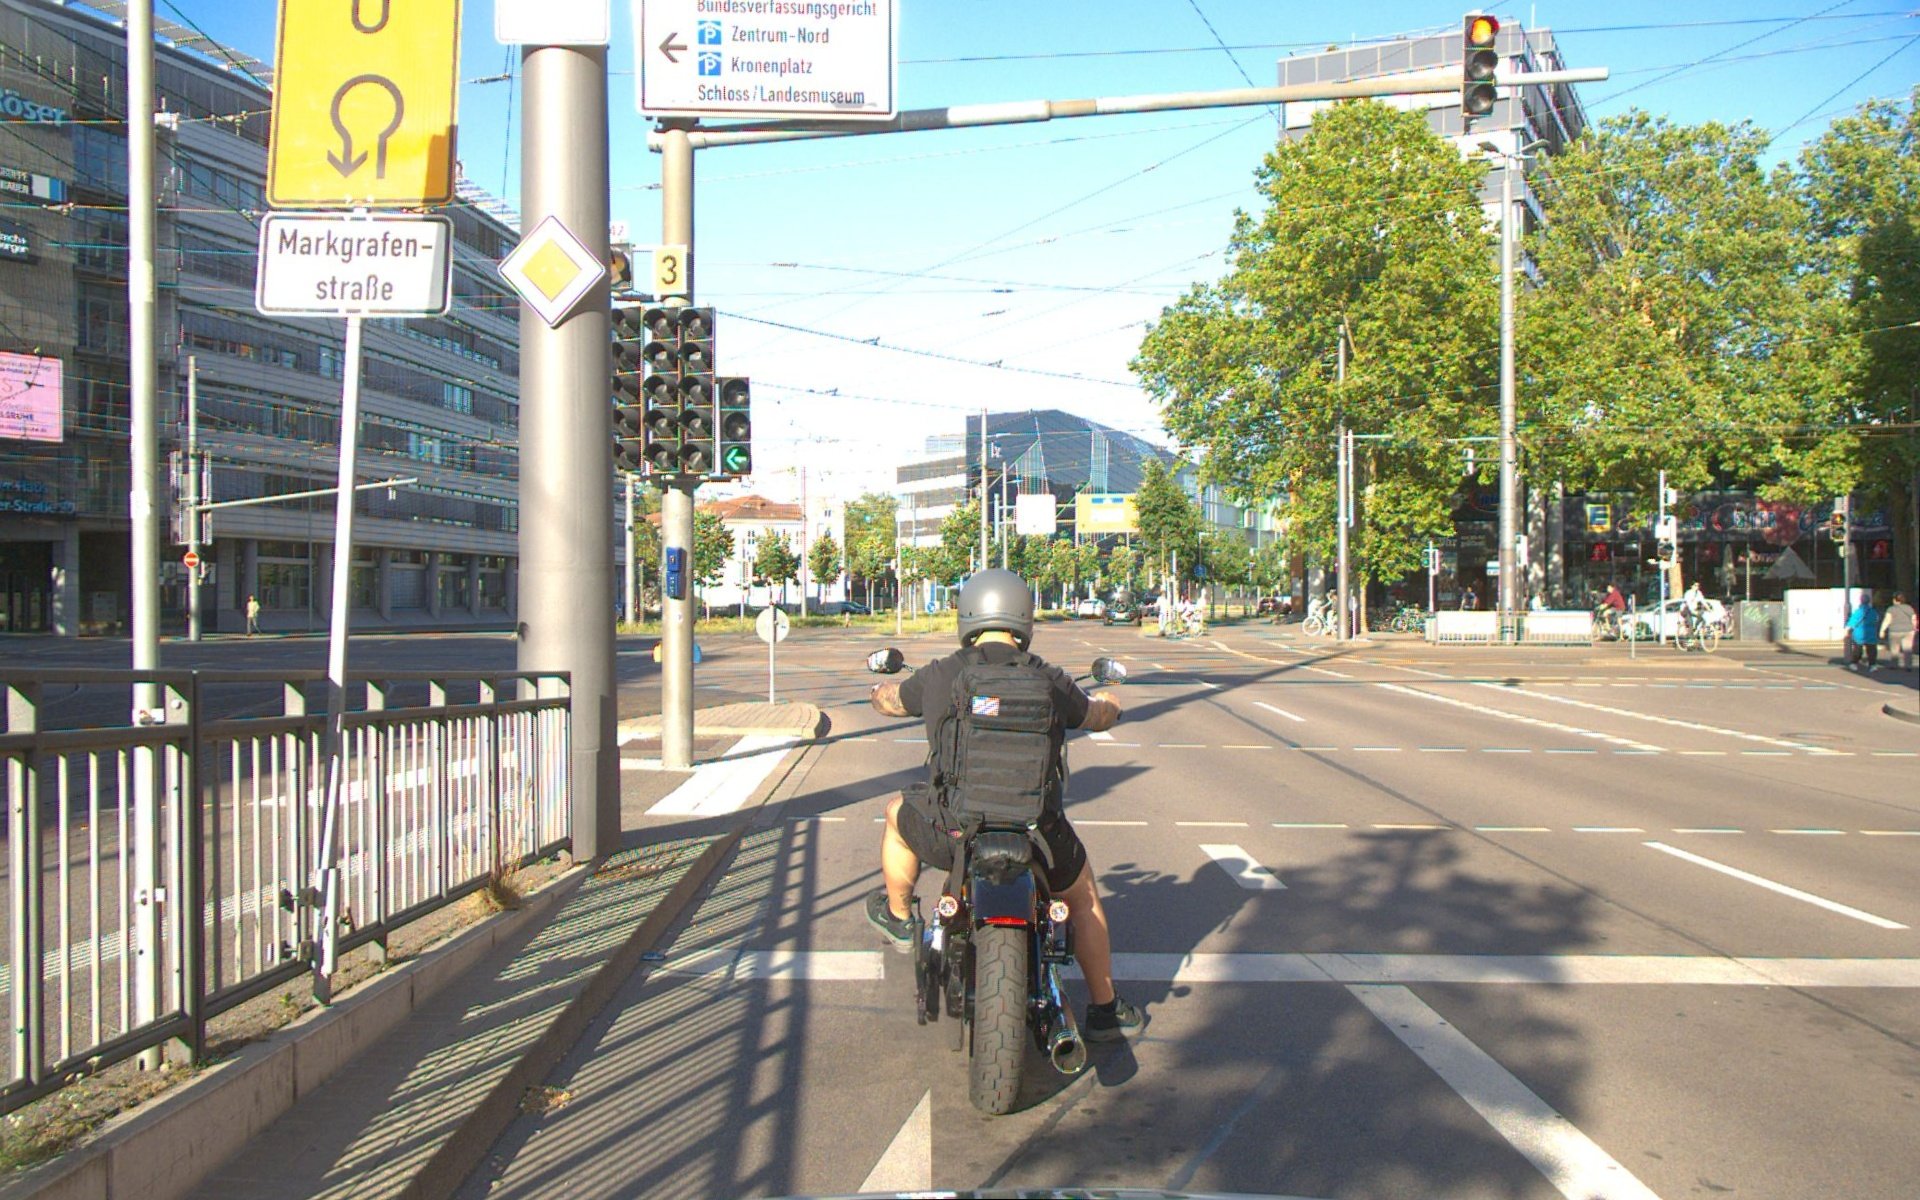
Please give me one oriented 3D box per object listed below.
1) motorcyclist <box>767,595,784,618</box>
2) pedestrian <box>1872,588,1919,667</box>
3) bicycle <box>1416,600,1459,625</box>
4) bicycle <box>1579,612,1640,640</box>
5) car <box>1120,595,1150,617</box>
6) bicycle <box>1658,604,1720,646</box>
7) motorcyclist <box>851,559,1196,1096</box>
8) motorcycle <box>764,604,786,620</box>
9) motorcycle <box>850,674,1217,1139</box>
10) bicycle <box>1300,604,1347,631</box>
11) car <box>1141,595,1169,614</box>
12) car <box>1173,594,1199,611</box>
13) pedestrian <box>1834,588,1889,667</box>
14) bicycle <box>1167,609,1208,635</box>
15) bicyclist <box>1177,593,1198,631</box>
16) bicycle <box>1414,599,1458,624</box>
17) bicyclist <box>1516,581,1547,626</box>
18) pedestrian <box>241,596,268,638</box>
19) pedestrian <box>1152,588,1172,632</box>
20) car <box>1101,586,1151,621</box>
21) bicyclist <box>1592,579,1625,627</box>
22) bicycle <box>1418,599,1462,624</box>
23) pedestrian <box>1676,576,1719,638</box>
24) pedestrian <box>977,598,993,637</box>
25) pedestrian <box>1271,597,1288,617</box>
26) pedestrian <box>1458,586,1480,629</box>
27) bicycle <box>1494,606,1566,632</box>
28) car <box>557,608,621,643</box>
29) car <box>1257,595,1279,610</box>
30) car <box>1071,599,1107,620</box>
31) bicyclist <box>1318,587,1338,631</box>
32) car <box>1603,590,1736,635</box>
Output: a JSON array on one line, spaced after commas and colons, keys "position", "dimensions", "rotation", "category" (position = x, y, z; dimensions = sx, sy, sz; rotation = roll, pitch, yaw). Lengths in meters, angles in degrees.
[{"position": [-14.750, 0.507, 132.042], "dimensions": [0.997, 1.761, 1.462], "rotation": [0, 0, 10], "category": "motorcyclist"}, {"position": [18.927, 0.553, 33.340], "dimensions": [0.638, 1.566, 0.741], "rotation": [1, -1, -8], "category": "pedestrian"}, {"position": [19.235, 0.500, 66.654], "dimensions": [1.668, 1.003, 0.391], "rotation": [0, 0, 13], "category": "bicycle"}, {"position": [22.360, 0.895, 56.953], "dimensions": [1.814, 0.926, 0.652], "rotation": [0, 0, 3], "category": "bicycle"}, {"position": [14.978, 0.513, 141.539], "dimensions": [1.781, 1.849, 3.946], "rotation": [0, 0, 17], "category": "car"}, {"position": [19.544, 0.659, 44.381], "dimensions": [0.773, 1.070, 1.922], "rotation": [1, 0, -1], "category": "bicycle"}, {"position": [0.181, 0.675, 5.550], "dimensions": [1.001, 1.579, 1.286], "rotation": [1, 0, -1], "category": "motorcyclist"}, {"position": [-14.766, 0.930, 131.976], "dimensions": [0.962, 1.253, 2.945], "rotation": [0, 0, 10], "category": "motorcycle"}, {"position": [0.185, 0.890, 5.680], "dimensions": [0.985, 1.145, 2.323], "rotation": [1, 0, -1], "category": "motorcycle"}, {"position": [14.351, 0.705, 65.342], "dimensions": [1.813, 1.039, 0.517], "rotation": [-1, -1, 11], "category": "bicycle"}, {"position": [17.615, 0.392, 149.096], "dimensions": [1.684, 1.686, 3.755], "rotation": [0, 0, 19], "category": "car"}, {"position": [21.834, 0.234, 159.785], "dimensions": [1.685, 1.510, 3.754], "rotation": [0, 0, 22], "category": "car"}, {"position": [18.141, 0.557, 33.286], "dimensions": [0.662, 1.566, 0.741], "rotation": [1, -1, -8], "category": "pedestrian"}, {"position": [9.248, 0.895, 67.230], "dimensions": [1.594, 1.039, 0.516], "rotation": [-1, -1, 23], "category": "bicycle"}, {"position": [9.249, 0.479, 67.232], "dimensions": [0.727, 1.529, 0.570], "rotation": [-1, -1, 23], "category": "bicyclist"}, {"position": [19.442, 0.466, 67.568], "dimensions": [1.668, 1.003, 0.391], "rotation": [0, 0, 13], "category": "bicycle"}, {"position": [25.301, 0.159, 73.215], "dimensions": [1.200, 1.965, 0.836], "rotation": [0, 0, 14], "category": "bicyclist"}, {"position": [-31.394, 0.747, 73.587], "dimensions": [0.660, 1.855, 0.886], "rotation": [-2, -1, 12], "category": "pedestrian"}, {"position": [8.506, 0.422, 69.633], "dimensions": [0.688, 1.869, 0.513], "rotation": [1, -1, 35], "category": "pedestrian"}, {"position": [9.524, 0.230, 94.666], "dimensions": [2.010, 1.906, 4.229], "rotation": [1, 0, 17], "category": "car"}, {"position": [22.330, 0.104, 56.923], "dimensions": [0.906, 1.643, 0.638], "rotation": [0, 0, 3], "category": "bicyclist"}, {"position": [19.083, 0.462, 65.807], "dimensions": [1.668, 1.003, 0.391], "rotation": [0, 0, 13], "category": "bicycle"}, {"position": [19.723, 0.190, 44.235], "dimensions": [0.754, 1.622, 0.838], "rotation": [1, -1, -1], "category": "pedestrian"}, {"position": [1.037, 0.725, 69.015], "dimensions": [0.643, 1.610, 0.489], "rotation": [0, 0, 3], "category": "pedestrian"}, {"position": [17.555, 0.391, 90.911], "dimensions": [0.768, 1.075, 0.814], "rotation": [0, 0, 22], "category": "pedestrian"}, {"position": [23.246, 0.345, 75.527], "dimensions": [0.829, 1.884, 0.810], "rotation": [2, 0, 14], "category": "pedestrian"}, {"position": [25.213, 0.827, 73.197], "dimensions": [2.976, 1.133, 0.836], "rotation": [0, 0, 14], "category": "bicycle"}, {"position": [-17.397, 1.184, 77.751], "dimensions": [1.754, 1.491, 4.313], "rotation": [-1, 1, 3], "category": "car"}, {"position": [32.467, 0.233, 174.287], "dimensions": [1.803, 1.490, 4.001], "rotation": [1, 0, 19], "category": "car"}, {"position": [9.773, 0.700, 124.974], "dimensions": [1.861, 1.534, 4.002], "rotation": [1, 0, 17], "category": "car"}, {"position": [14.512, 0.369, 65.273], "dimensions": [0.727, 1.724, 0.570], "rotation": [-1, -1, 10], "category": "bicyclist"}, {"position": [25.169, 0.450, 58.772], "dimensions": [3.903, 1.512, 2.001], "rotation": [1, 0, 4], "category": "car"}]
